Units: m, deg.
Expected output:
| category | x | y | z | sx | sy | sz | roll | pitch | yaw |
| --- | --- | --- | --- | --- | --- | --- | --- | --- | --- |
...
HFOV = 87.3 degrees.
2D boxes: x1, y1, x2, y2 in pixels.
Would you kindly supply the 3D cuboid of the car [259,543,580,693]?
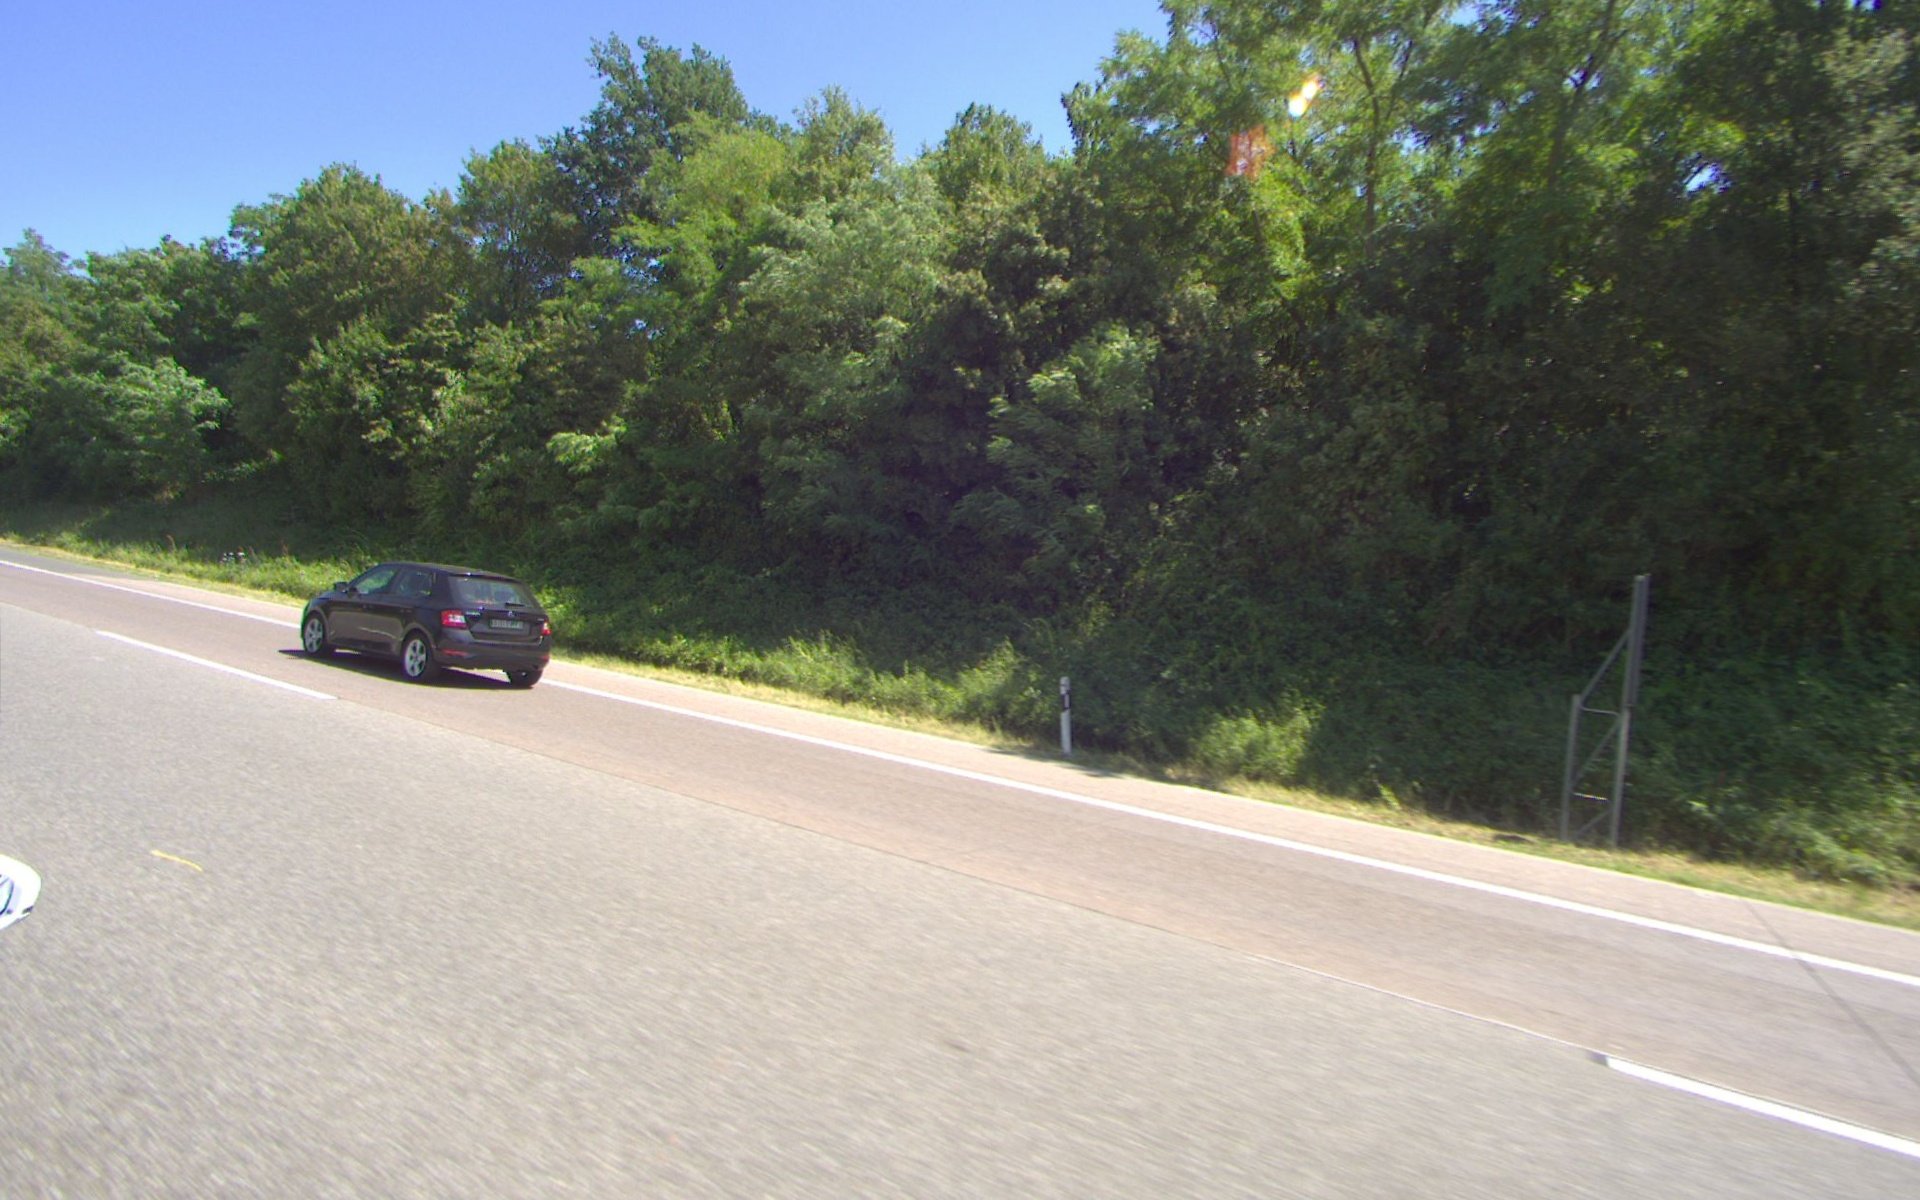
| category | x | y | z | sx | sy | sz | roll | pitch | yaw |
| --- | --- | --- | --- | --- | --- | --- | --- | --- | --- |
| car | -7.342 | 0.203 | 13.530 | 4.498 | 1.464 | 1.673 | 6 | -2 | 32 |
